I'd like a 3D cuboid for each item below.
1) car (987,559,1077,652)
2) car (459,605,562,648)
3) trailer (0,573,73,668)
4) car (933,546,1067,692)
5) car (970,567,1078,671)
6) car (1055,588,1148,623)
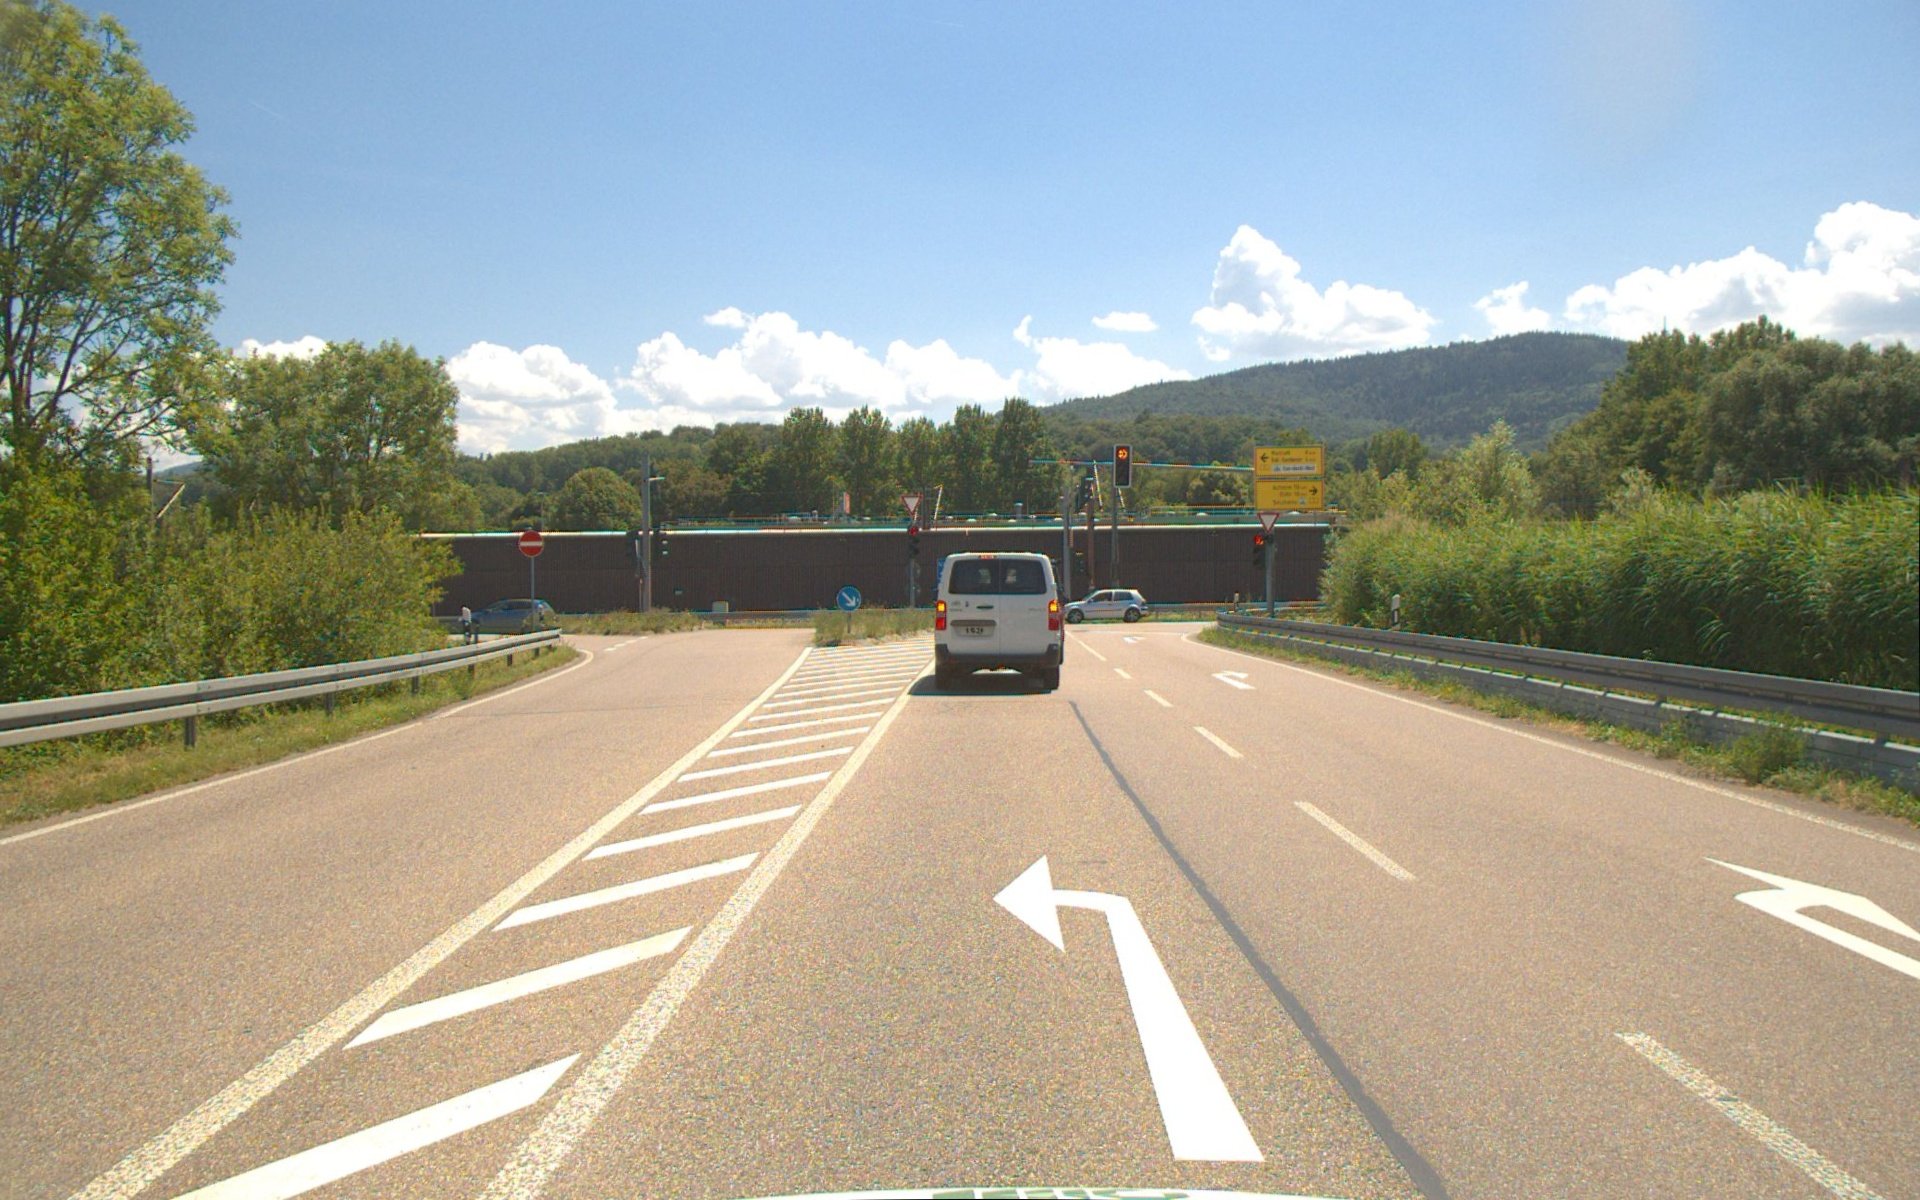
[{"bbox_3d":[1.681,0.115,39.513,1.952,2.048,4.001,-2,0,1],"label":"car"},{"bbox_3d":[-19.488,1.138,71.797,3.905,1.800,2.000,0,0,0],"label":"car"},{"bbox_3d":[-41.364,0.971,64.421,12.074,3.565,2.232,-2,1,-2],"label":"trailer"},{"bbox_3d":[0.586,0.255,24.776,1.831,1.999,4.001,0,0,1],"label":"car"},{"bbox_3d":[1.240,0.349,32.746,1.952,1.844,4.001,-2,0,1],"label":"car"},{"bbox_3d":[6.141,0.231,72.109,3.905,1.373,1.849,1,2,1],"label":"car"}]
